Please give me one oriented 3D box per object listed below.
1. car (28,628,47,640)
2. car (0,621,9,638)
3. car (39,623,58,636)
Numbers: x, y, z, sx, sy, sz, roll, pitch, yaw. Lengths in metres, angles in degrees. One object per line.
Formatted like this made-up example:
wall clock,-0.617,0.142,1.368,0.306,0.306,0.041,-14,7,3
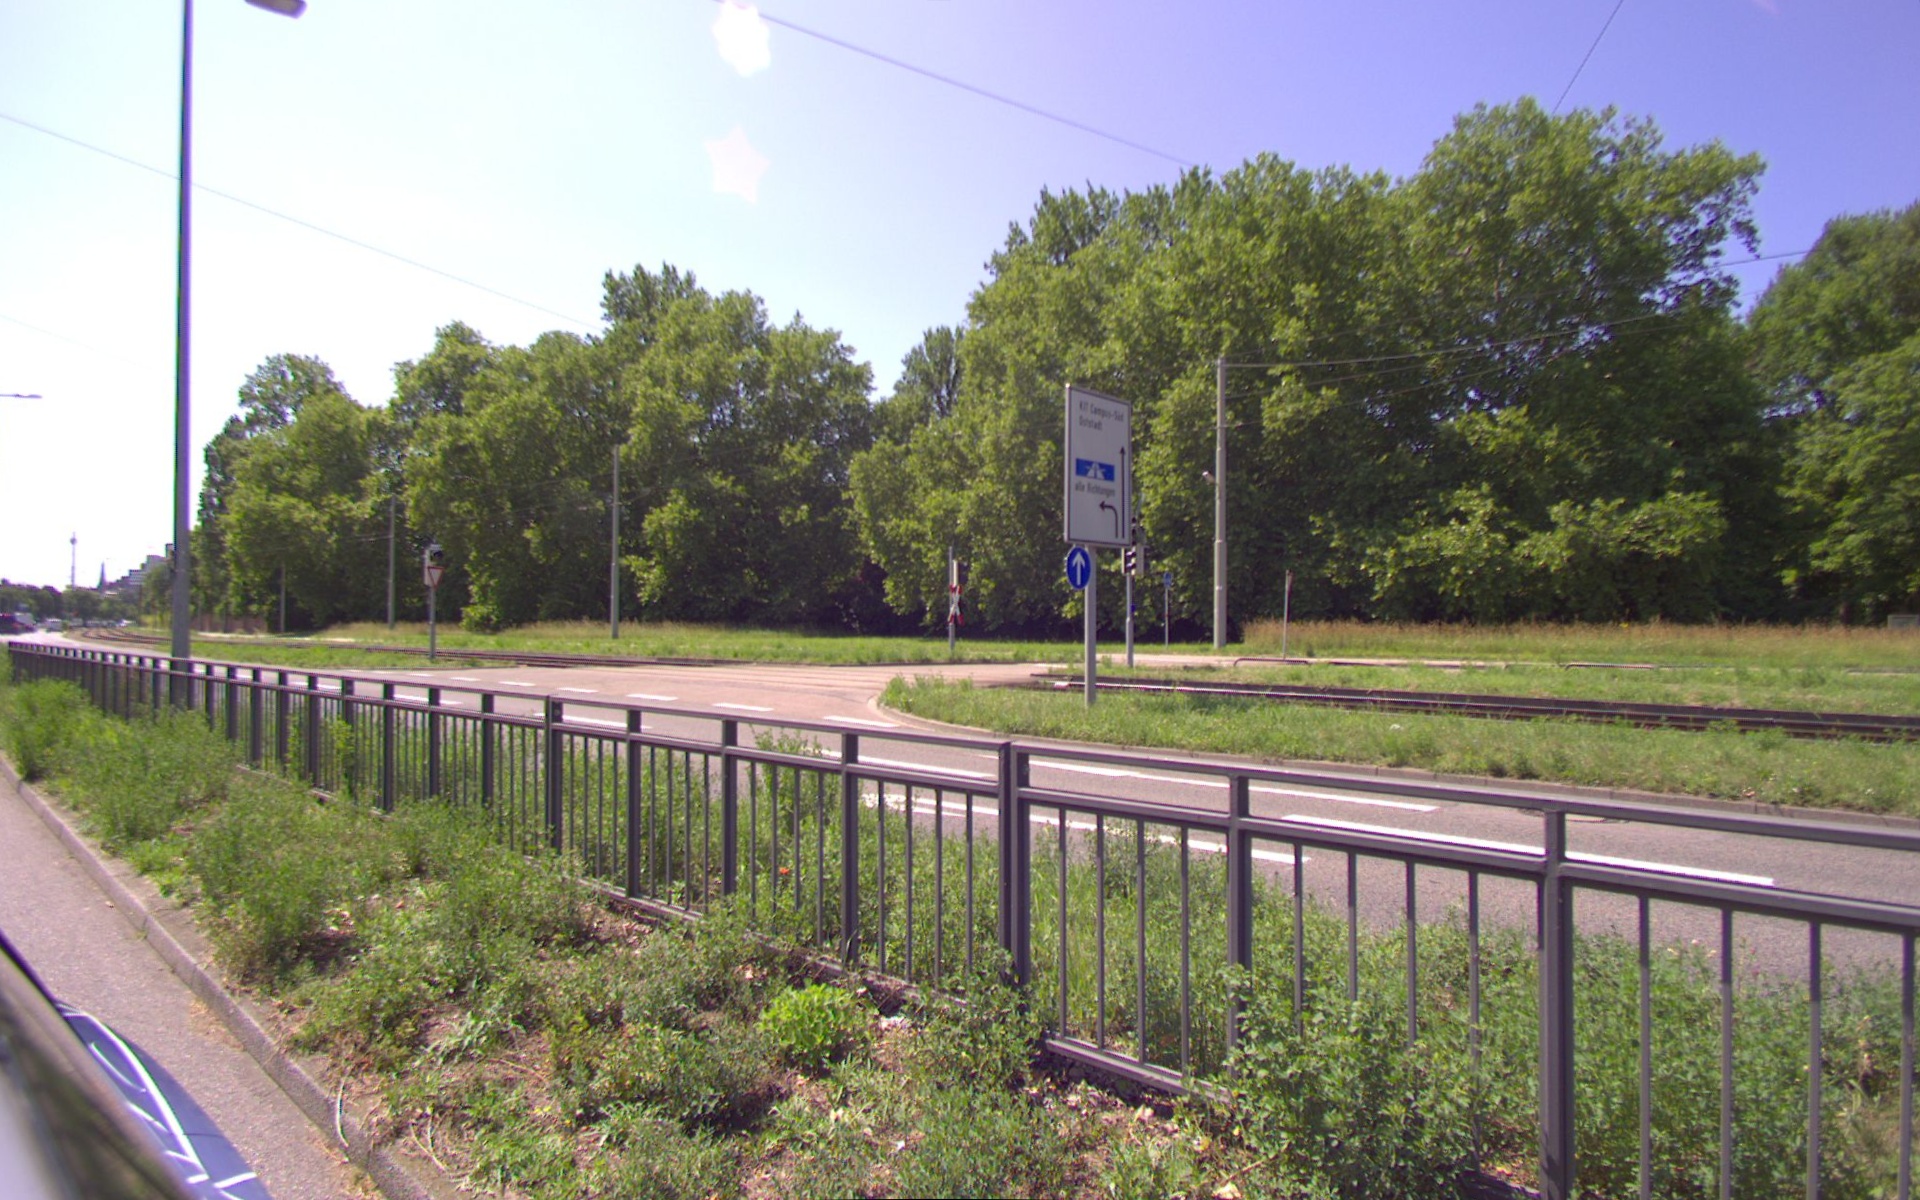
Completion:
car,-143.008,5.272,156.842,1.970,1.871,4.003,1,-2,-44
car,-107.881,3.253,113.280,1.970,1.871,4.004,1,-2,-43
car,-136.696,4.442,151.760,1.970,1.871,4.003,1,-2,-44
